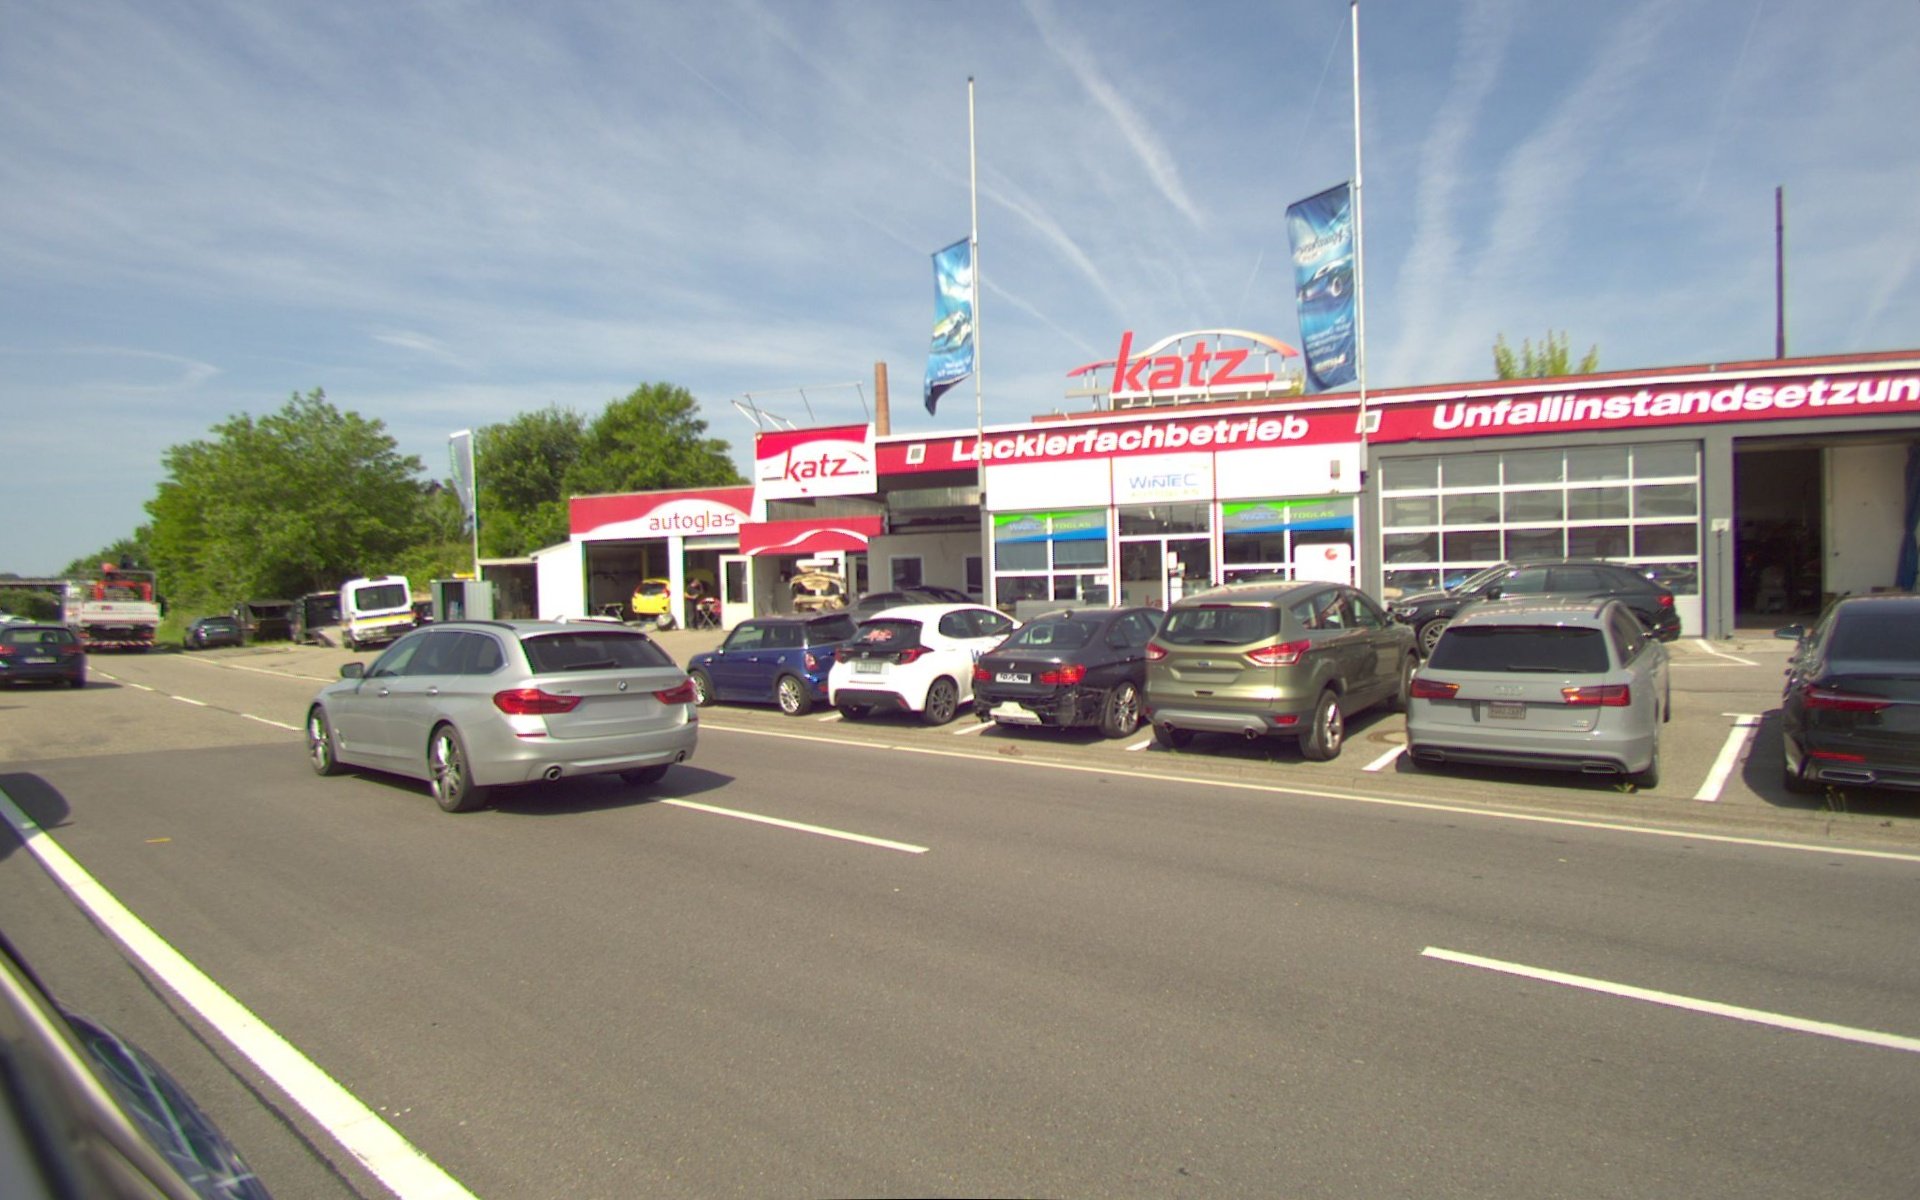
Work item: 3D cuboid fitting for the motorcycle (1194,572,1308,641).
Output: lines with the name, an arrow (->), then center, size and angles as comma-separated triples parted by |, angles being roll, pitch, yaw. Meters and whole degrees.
motorcycle -> 5.533, 0.133, 19.253 | 2.039, 1.271, 0.767 | -1, -1, 20

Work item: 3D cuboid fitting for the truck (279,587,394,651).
truck -> -26.956, 0.793, 43.545 | 2.304, 2.313, 8.811 | -7, 4, -43

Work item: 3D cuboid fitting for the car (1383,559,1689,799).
car -> 5.473, 0.506, 9.320 | 1.834, 1.495, 4.238 | -1, 4, 38

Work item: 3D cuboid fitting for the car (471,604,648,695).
car -> -8.219, 0.937, 20.612 | 3.999, 1.630, 1.760 | -1, 0, 42

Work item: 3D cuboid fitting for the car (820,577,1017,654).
car -> -0.992, 0.372, 24.662 | 4.360, 1.516, 1.849 | -3, 2, 18

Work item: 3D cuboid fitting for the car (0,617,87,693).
car -> -21.368, 1.193, 23.011 | 4.386, 1.571, 1.787 | -1, -1, 42

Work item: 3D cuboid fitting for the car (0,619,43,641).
car -> -71.472, 2.233, 75.928 | 1.784, 1.571, 4.393 | -1, -1, -6

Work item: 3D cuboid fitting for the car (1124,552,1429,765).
car -> 3.577, 0.462, 10.991 | 1.805, 1.729, 3.848 | -1, 4, 39

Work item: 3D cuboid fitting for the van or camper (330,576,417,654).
van or camper -> -21.823, 0.522, 37.520 | 2.126, 2.517, 5.965 | -5, 3, -35

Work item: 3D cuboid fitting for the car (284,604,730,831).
car -> -4.309, 0.844, 9.202 | 4.779, 1.533, 1.889 | -1, -1, 41

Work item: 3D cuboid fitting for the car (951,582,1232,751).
car -> 1.764, 0.687, 12.567 | 1.790, 1.536, 3.674 | -1, 4, 38

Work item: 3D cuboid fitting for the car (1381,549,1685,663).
car -> 9.499, 0.054, 17.173 | 4.089, 1.686, 1.820 | 0, 6, 15

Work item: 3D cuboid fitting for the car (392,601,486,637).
car -> -23.736, 0.843, 46.216 | 1.725, 1.541, 3.650 | -1, 0, 18

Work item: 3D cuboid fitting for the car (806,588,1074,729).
car -> -0.166, 0.725, 14.561 | 1.844, 1.536, 3.761 | -1, 3, 38

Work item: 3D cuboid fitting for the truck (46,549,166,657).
truck -> -37.496, 0.248, 44.242 | 10.650, 4.241, 2.923 | -2, -2, 44

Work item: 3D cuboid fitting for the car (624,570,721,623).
car -> -10.733, -0.173, 38.026 | 1.725, 1.737, 3.650 | -1, 3, 18

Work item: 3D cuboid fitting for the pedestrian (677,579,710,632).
pedestrian -> -9.089, 0.192, 34.547 | 0.895, 1.775, 0.714 | 0, 1, 44

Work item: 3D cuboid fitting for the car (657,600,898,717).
car -> -2.972, 0.847, 16.122 | 3.781, 1.504, 1.761 | -1, 4, 42

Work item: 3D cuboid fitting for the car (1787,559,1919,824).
car -> 7.704, 0.530, 7.972 | 1.797, 1.495, 4.257 | -1, 4, 40

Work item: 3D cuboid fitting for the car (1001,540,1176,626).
car -> 2.972, -0.395, 23.137 | 3.727, 1.772, 1.696 | -2, 3, 16

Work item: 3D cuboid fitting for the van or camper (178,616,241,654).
van or camper -> -33.381, 1.518, 44.980 | 1.621, 1.535, 4.470 | -2, 1, -44
